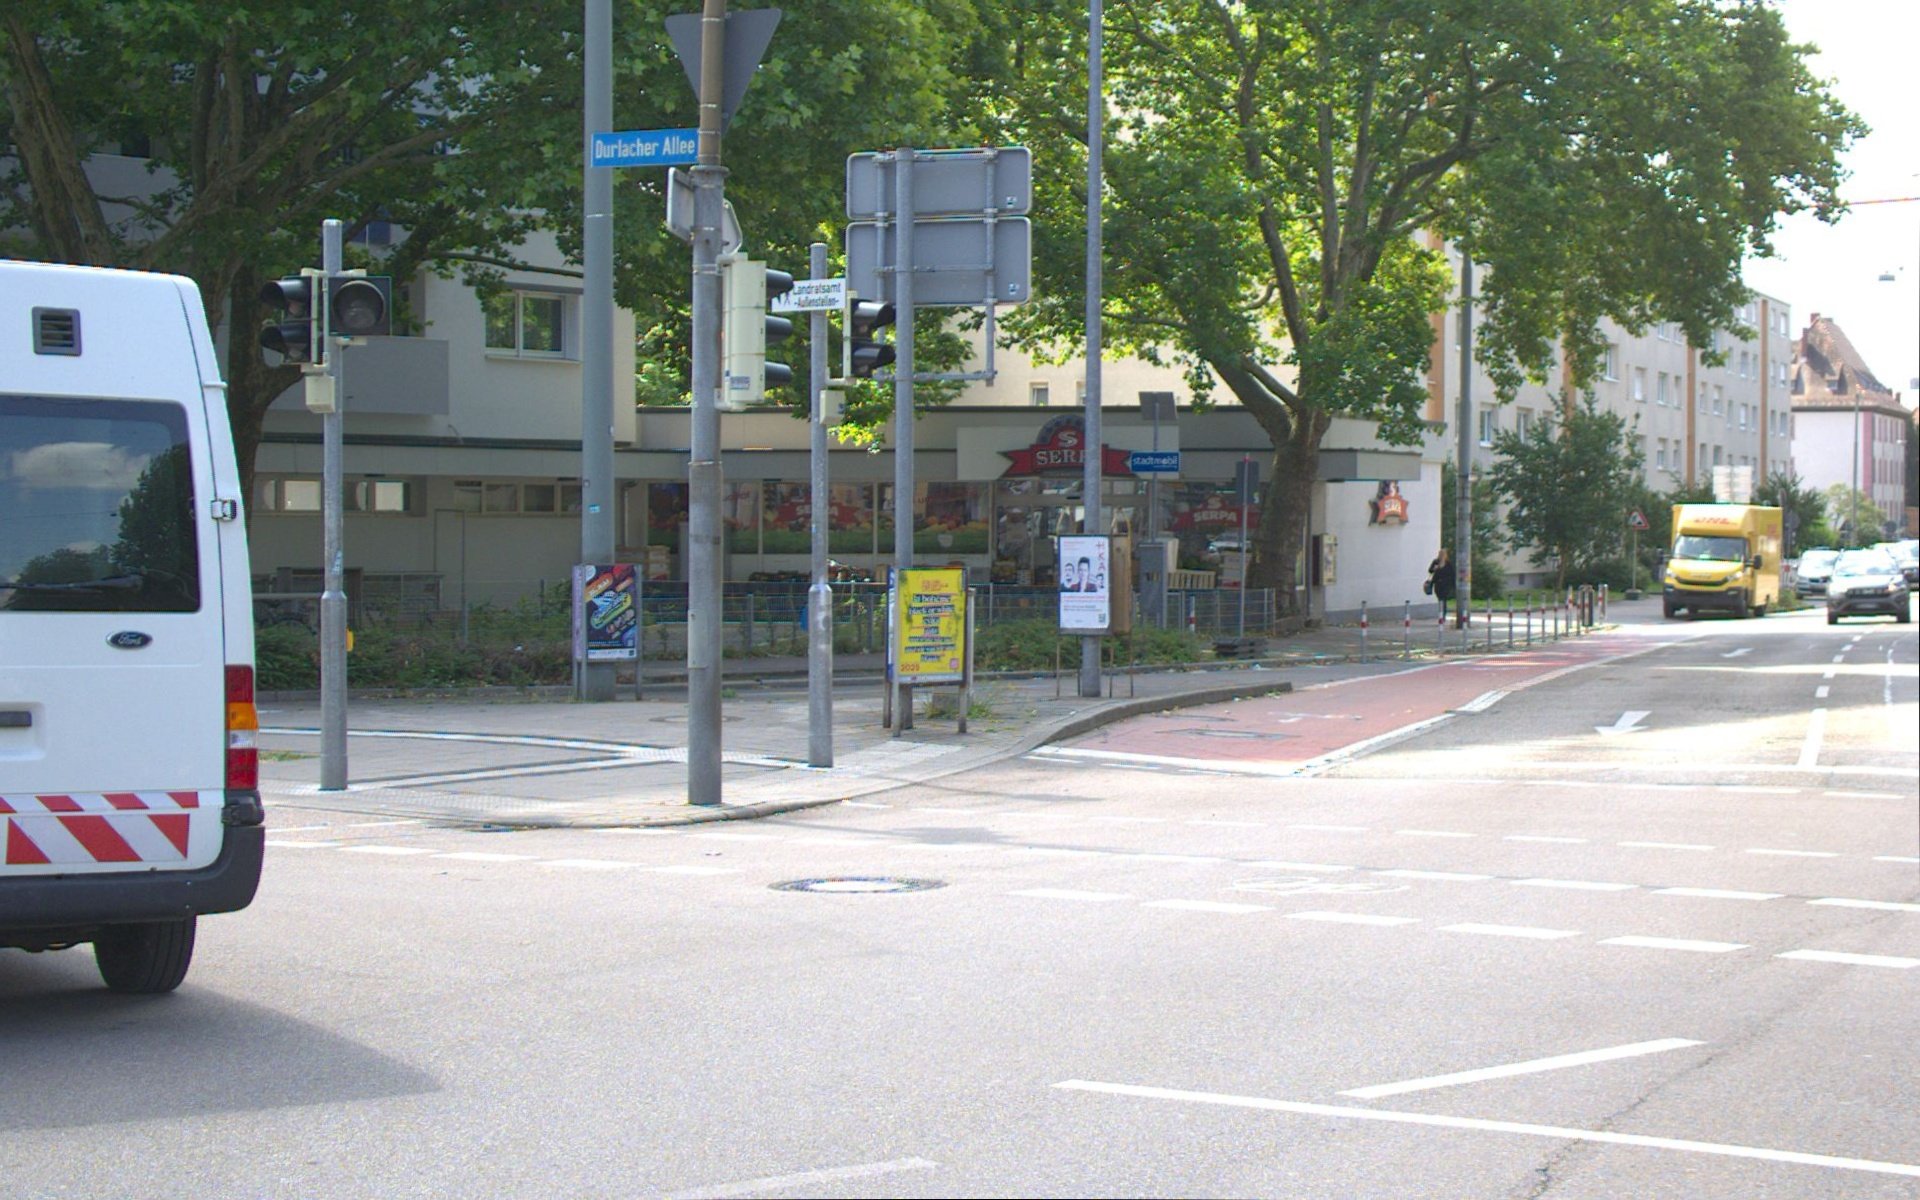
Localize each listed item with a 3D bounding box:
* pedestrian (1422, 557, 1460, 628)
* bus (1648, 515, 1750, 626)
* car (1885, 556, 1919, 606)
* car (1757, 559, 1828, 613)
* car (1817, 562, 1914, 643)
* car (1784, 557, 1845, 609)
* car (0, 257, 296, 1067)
[{"bbox_3d":[10.197,-0.163,72.848,0.670,1.474,0.575,0,1,23],"label":"pedestrian"},{"bbox_3d":[18.913,-0.770,87.744,2.395,2.699,6.366,-1,1,13],"label":"bus"},{"bbox_3d":[33.225,-0.668,119.459,1.863,1.655,3.746,0,1,18],"label":"car"},{"bbox_3d":[25.167,-0.437,103.873,1.847,1.557,3.997,-1,1,17],"label":"car"},{"bbox_3d":[19.979,0.038,75.748,1.788,1.655,4.312,0,1,18],"label":"car"},{"bbox_3d":[29.082,-0.586,116.985,1.730,1.655,3.746,0,1,18],"label":"car"},{"bbox_3d":[-4.129,0.150,11.781,2.047,2.325,4.714,-1,1,-32],"label":"car"}]
